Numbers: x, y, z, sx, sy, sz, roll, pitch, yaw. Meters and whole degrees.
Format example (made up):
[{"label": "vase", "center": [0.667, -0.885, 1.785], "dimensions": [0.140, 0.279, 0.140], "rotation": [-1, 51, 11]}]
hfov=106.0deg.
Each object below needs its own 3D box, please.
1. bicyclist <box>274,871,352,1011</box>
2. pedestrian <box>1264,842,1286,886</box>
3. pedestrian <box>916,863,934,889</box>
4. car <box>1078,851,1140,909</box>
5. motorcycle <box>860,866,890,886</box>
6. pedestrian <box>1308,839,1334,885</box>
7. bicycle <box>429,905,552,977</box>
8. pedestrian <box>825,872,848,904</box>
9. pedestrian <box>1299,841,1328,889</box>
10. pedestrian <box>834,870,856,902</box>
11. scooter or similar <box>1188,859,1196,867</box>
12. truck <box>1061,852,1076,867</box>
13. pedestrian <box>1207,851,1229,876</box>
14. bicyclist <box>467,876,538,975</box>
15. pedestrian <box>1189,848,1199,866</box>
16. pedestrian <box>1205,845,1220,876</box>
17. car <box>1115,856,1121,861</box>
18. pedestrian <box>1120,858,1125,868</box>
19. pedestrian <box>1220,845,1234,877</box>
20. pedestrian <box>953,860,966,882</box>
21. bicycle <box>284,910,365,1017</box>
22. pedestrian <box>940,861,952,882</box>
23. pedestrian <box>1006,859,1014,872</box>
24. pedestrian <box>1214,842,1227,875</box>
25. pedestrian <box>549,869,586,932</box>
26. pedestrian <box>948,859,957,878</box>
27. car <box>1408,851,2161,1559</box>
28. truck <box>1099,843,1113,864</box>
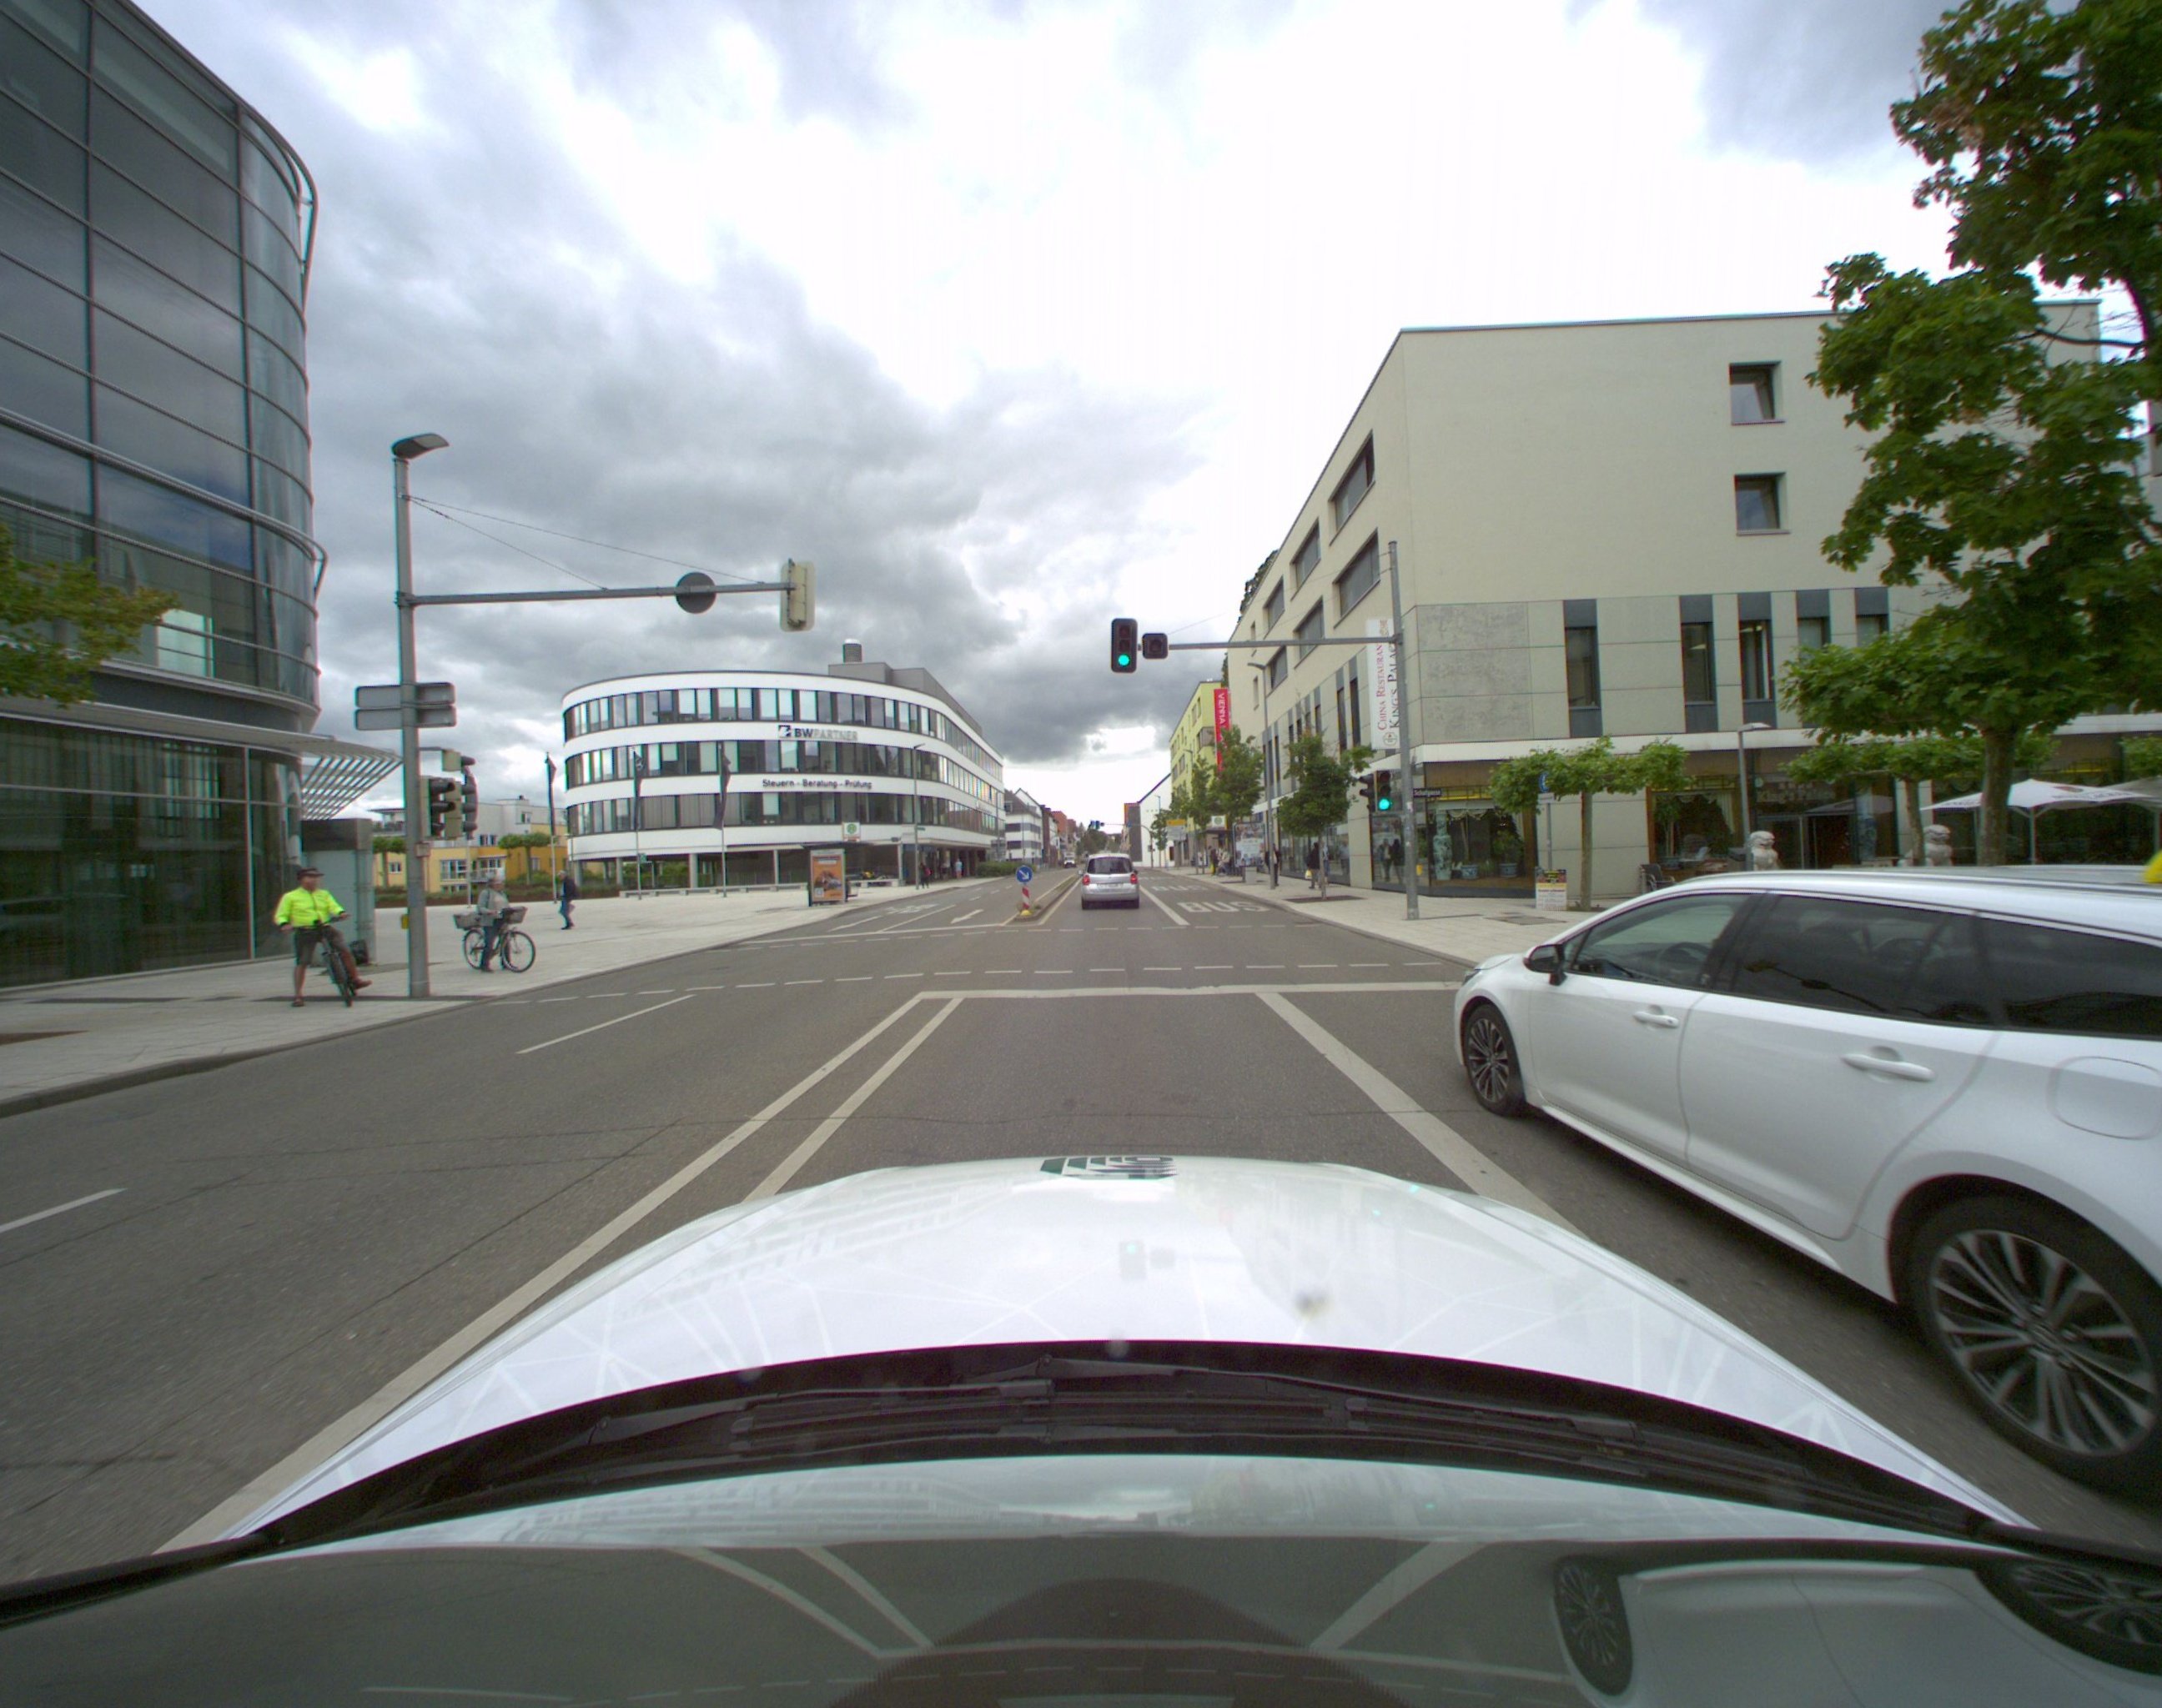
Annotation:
[{"label": "bicyclist", "center": [-10.460, 1.137, 11.092], "dimensions": [0.752, 1.800, 0.764], "rotation": [0, -1, -44]}, {"label": "pedestrian", "center": [7.443, 0.374, 31.222], "dimensions": [0.652, 1.669, 0.614], "rotation": [-3, 0, 2]}, {"label": "pedestrian", "center": [-9.443, 1.310, 49.276], "dimensions": [0.826, 1.567, 0.814], "rotation": [-1, -1, 7]}, {"label": "car", "center": [0.834, 0.739, 24.499], "dimensions": [1.700, 1.579, 4.001], "rotation": [-1, 0, 1]}, {"label": "motorcycle", "center": [-13.801, 1.490, 54.587], "dimensions": [1.845, 1.333, 0.637], "rotation": [-1, -1, 5]}, {"label": "pedestrian", "center": [9.019, 0.288, 30.640], "dimensions": [0.741, 1.669, 0.614], "rotation": [-3, 0, 2]}, {"label": "bicycle", "center": [-10.249, 1.479, 14.143], "dimensions": [1.984, 1.130, 0.641], "rotation": [0, 0, 16]}, {"label": "pedestrian", "center": [-9.926, 1.386, 33.067], "dimensions": [0.682, 1.253, 0.576], "rotation": [-3, -1, 0]}, {"label": "pedestrian", "center": [7.941, 0.378, 27.875], "dimensions": [0.738, 1.608, 0.715], "rotation": [-3, 0, 2]}, {"label": "pedestrian", "center": [-9.954, 1.346, 34.373], "dimensions": [0.682, 1.320, 0.576], "rotation": [-4, -1, 0]}, {"label": "scooter or similar", "center": [10.102, 0.830, 73.836], "dimensions": [0.590, 0.673, 0.824], "rotation": [-4, 0, 1]}, {"label": "truck", "center": [-2.345, 1.045, 155.847], "dimensions": [2.426, 2.953, 8.367], "rotation": [0, 0, 2]}, {"label": "pedestrian", "center": [7.297, 0.526, 43.400], "dimensions": [0.940, 1.259, 0.732], "rotation": [-3, -1, -1]}, {"label": "bicyclist", "center": [-9.988, 1.206, 14.074], "dimensions": [0.775, 1.649, 0.641], "rotation": [0, 0, 17]}, {"label": "pedestrian", "center": [10.334, 0.308, 74.567], "dimensions": [0.693, 1.593, 0.603], "rotation": [-4, -1, 0]}, {"label": "pedestrian", "center": [7.397, 0.343, 45.828], "dimensions": [0.717, 1.683, 0.734], "rotation": [-4, -1, 7]}, {"label": "car", "center": [11.463, 1.466, 255.571], "dimensions": [1.805, 1.354, 4.002], "rotation": [-3, 0, 2]}, {"label": "pedestrian", "center": [7.904, 1.631, 154.248], "dimensions": [0.804, 1.787, 0.861], "rotation": [-5, 0, 2]}, {"label": "pedestrian", "center": [7.532, 0.347, 42.106], "dimensions": [0.576, 1.590, 0.734], "rotation": [-4, -1, 7]}, {"label": "pedestrian", "center": [-9.365, 1.320, 62.705], "dimensions": [0.727, 1.674, 0.932], "rotation": [-1, -1, 3]}, {"label": "bicycle", "center": [-10.387, 1.439, 11.161], "dimensions": [0.752, 1.206, 2.006], "rotation": [0, 0, -44]}, {"label": "pedestrian", "center": [-10.553, 1.380, 63.534], "dimensions": [0.727, 1.613, 0.932], "rotation": [-1, -1, 3]}, {"label": "pedestrian", "center": [-9.368, 1.538, 107.677], "dimensions": [0.879, 1.669, 0.814], "rotation": [-2, 2, 0]}, {"label": "pedestrian", "center": [7.592, 0.245, 44.378], "dimensions": [0.576, 1.769, 0.858], "rotation": [-4, -1, 7]}, {"label": "pedestrian", "center": [-16.285, 1.452, 25.838], "dimensions": [0.907, 1.945, 0.741], "rotation": [-1, -1, -37]}, {"label": "pedestrian", "center": [-12.167, 1.367, 77.195], "dimensions": [0.500, 1.730, 0.619], "rotation": [-3, -1, 33]}, {"label": "car", "center": [3.123, 0.727, 3.339], "dimensions": [1.776, 1.425, 4.515], "rotation": [-2, 0, 1]}, {"label": "truck", "center": [4.845, -0.145, 156.609], "dimensions": [2.585, 3.857, 6.852], "rotation": [-2, 0, 2]}]
